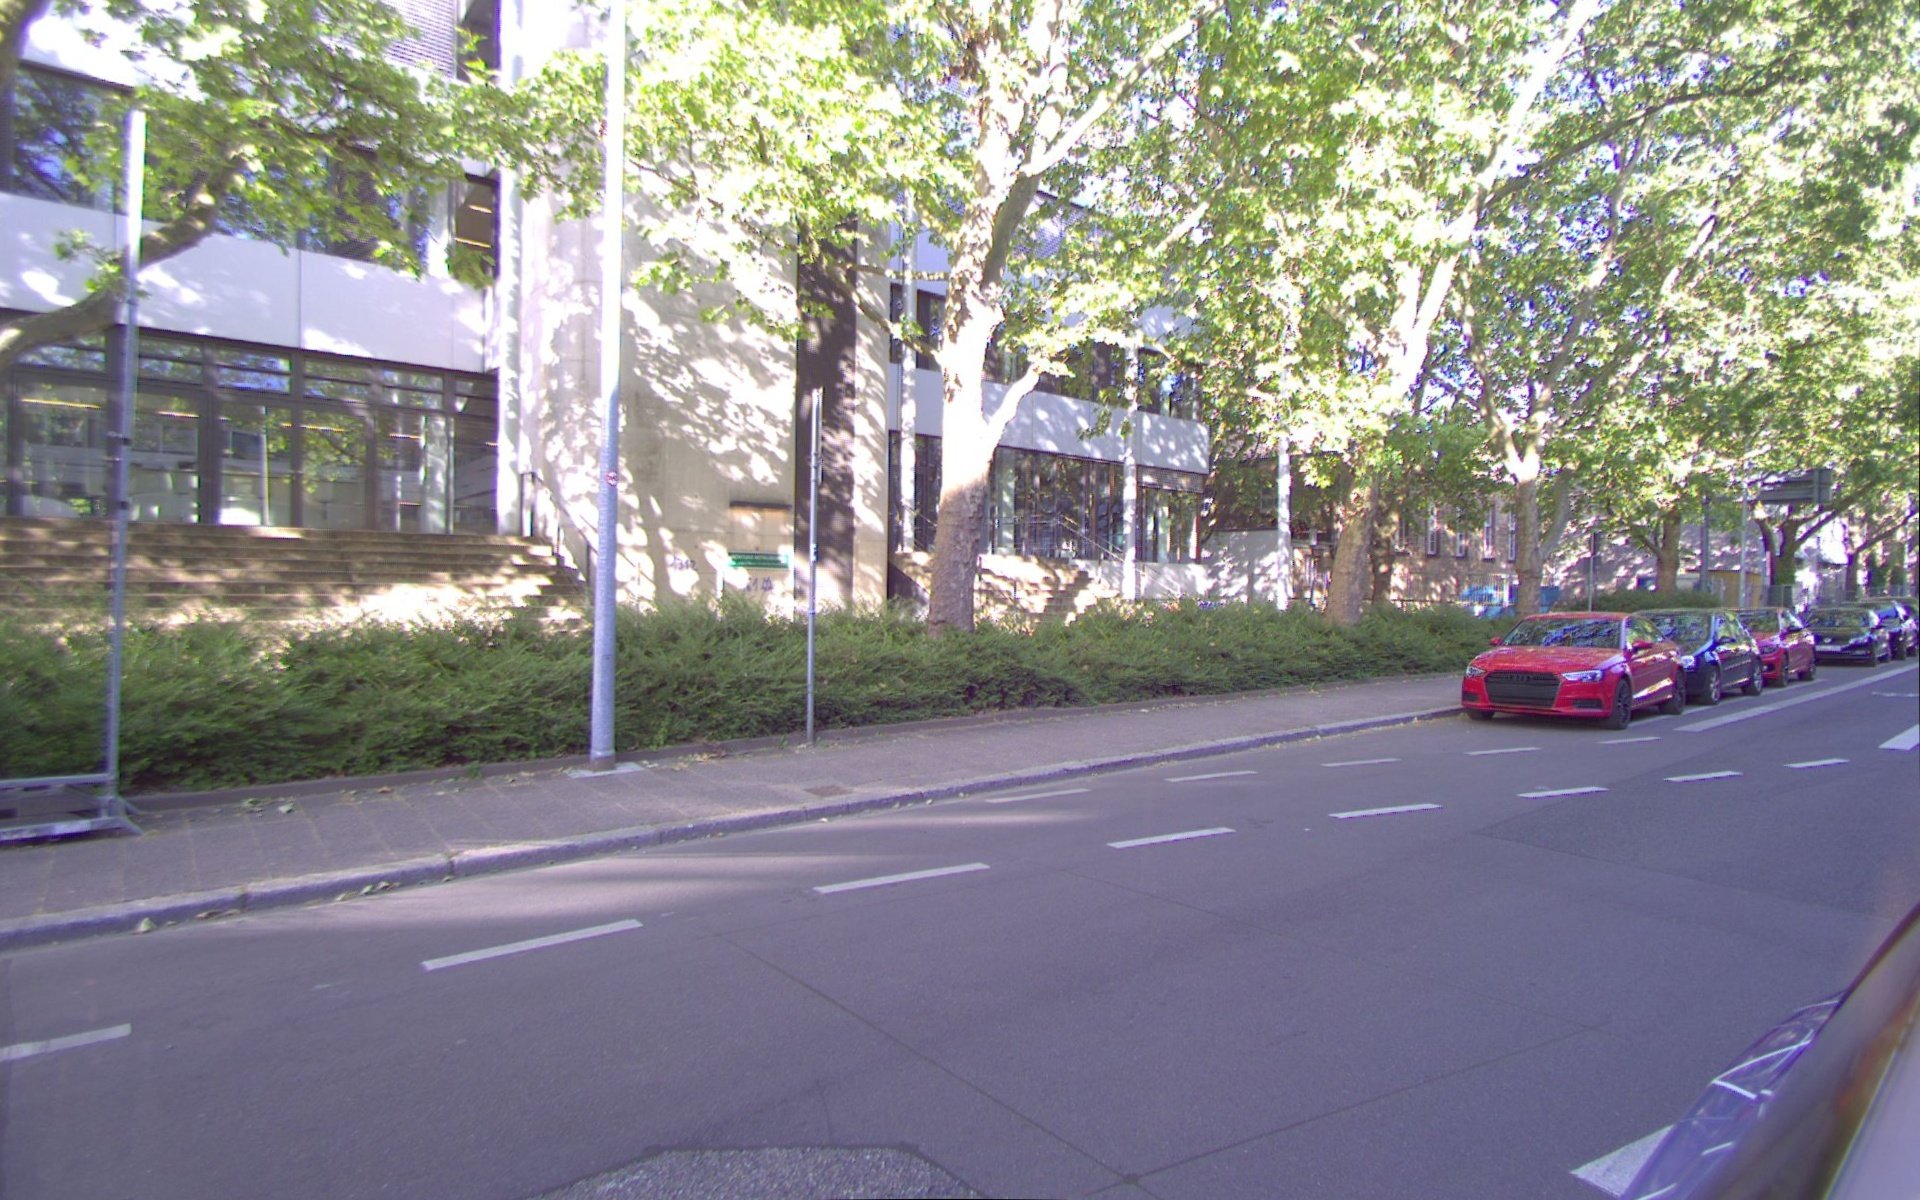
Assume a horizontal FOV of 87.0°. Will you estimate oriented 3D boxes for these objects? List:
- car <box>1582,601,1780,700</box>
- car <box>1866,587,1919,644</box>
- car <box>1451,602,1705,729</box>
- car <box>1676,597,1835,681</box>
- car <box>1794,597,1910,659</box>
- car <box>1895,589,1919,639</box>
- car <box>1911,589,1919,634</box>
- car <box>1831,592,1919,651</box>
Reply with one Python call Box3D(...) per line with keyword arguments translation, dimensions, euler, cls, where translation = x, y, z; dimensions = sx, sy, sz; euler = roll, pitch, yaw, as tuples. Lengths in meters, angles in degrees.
Box3D(translation=(11.959, 0.737, 16.697), dimensions=(4.092, 1.431, 1.815), euler=(0, -1, -42), cls="car")
Box3D(translation=(31.062, 0.485, 33.026), dimensions=(4.271, 1.777, 1.788), euler=(0, -1, -42), cls="car")
Box3D(translation=(8.366, 0.752, 13.557), dimensions=(4.092, 1.431, 1.815), euler=(0, -1, -42), cls="car")
Box3D(translation=(15.865, 0.699, 20.118), dimensions=(4.092, 1.502, 1.815), euler=(0, -1, -42), cls="car")
Box3D(translation=(23.057, 0.677, 26.111), dimensions=(4.092, 1.478, 1.788), euler=(0, -1, -42), cls="car")
Box3D(translation=(35.915, 0.480, 37.262), dimensions=(4.475, 1.777, 1.788), euler=(0, -1, -42), cls="car")
Box3D(translation=(39.632, 0.434, 40.412), dimensions=(4.475, 1.777, 2.040), euler=(0, -1, -42), cls="car")
Box3D(translation=(26.602, 0.586, 29.143), dimensions=(4.092, 1.573, 1.788), euler=(0, -1, -42), cls="car")
